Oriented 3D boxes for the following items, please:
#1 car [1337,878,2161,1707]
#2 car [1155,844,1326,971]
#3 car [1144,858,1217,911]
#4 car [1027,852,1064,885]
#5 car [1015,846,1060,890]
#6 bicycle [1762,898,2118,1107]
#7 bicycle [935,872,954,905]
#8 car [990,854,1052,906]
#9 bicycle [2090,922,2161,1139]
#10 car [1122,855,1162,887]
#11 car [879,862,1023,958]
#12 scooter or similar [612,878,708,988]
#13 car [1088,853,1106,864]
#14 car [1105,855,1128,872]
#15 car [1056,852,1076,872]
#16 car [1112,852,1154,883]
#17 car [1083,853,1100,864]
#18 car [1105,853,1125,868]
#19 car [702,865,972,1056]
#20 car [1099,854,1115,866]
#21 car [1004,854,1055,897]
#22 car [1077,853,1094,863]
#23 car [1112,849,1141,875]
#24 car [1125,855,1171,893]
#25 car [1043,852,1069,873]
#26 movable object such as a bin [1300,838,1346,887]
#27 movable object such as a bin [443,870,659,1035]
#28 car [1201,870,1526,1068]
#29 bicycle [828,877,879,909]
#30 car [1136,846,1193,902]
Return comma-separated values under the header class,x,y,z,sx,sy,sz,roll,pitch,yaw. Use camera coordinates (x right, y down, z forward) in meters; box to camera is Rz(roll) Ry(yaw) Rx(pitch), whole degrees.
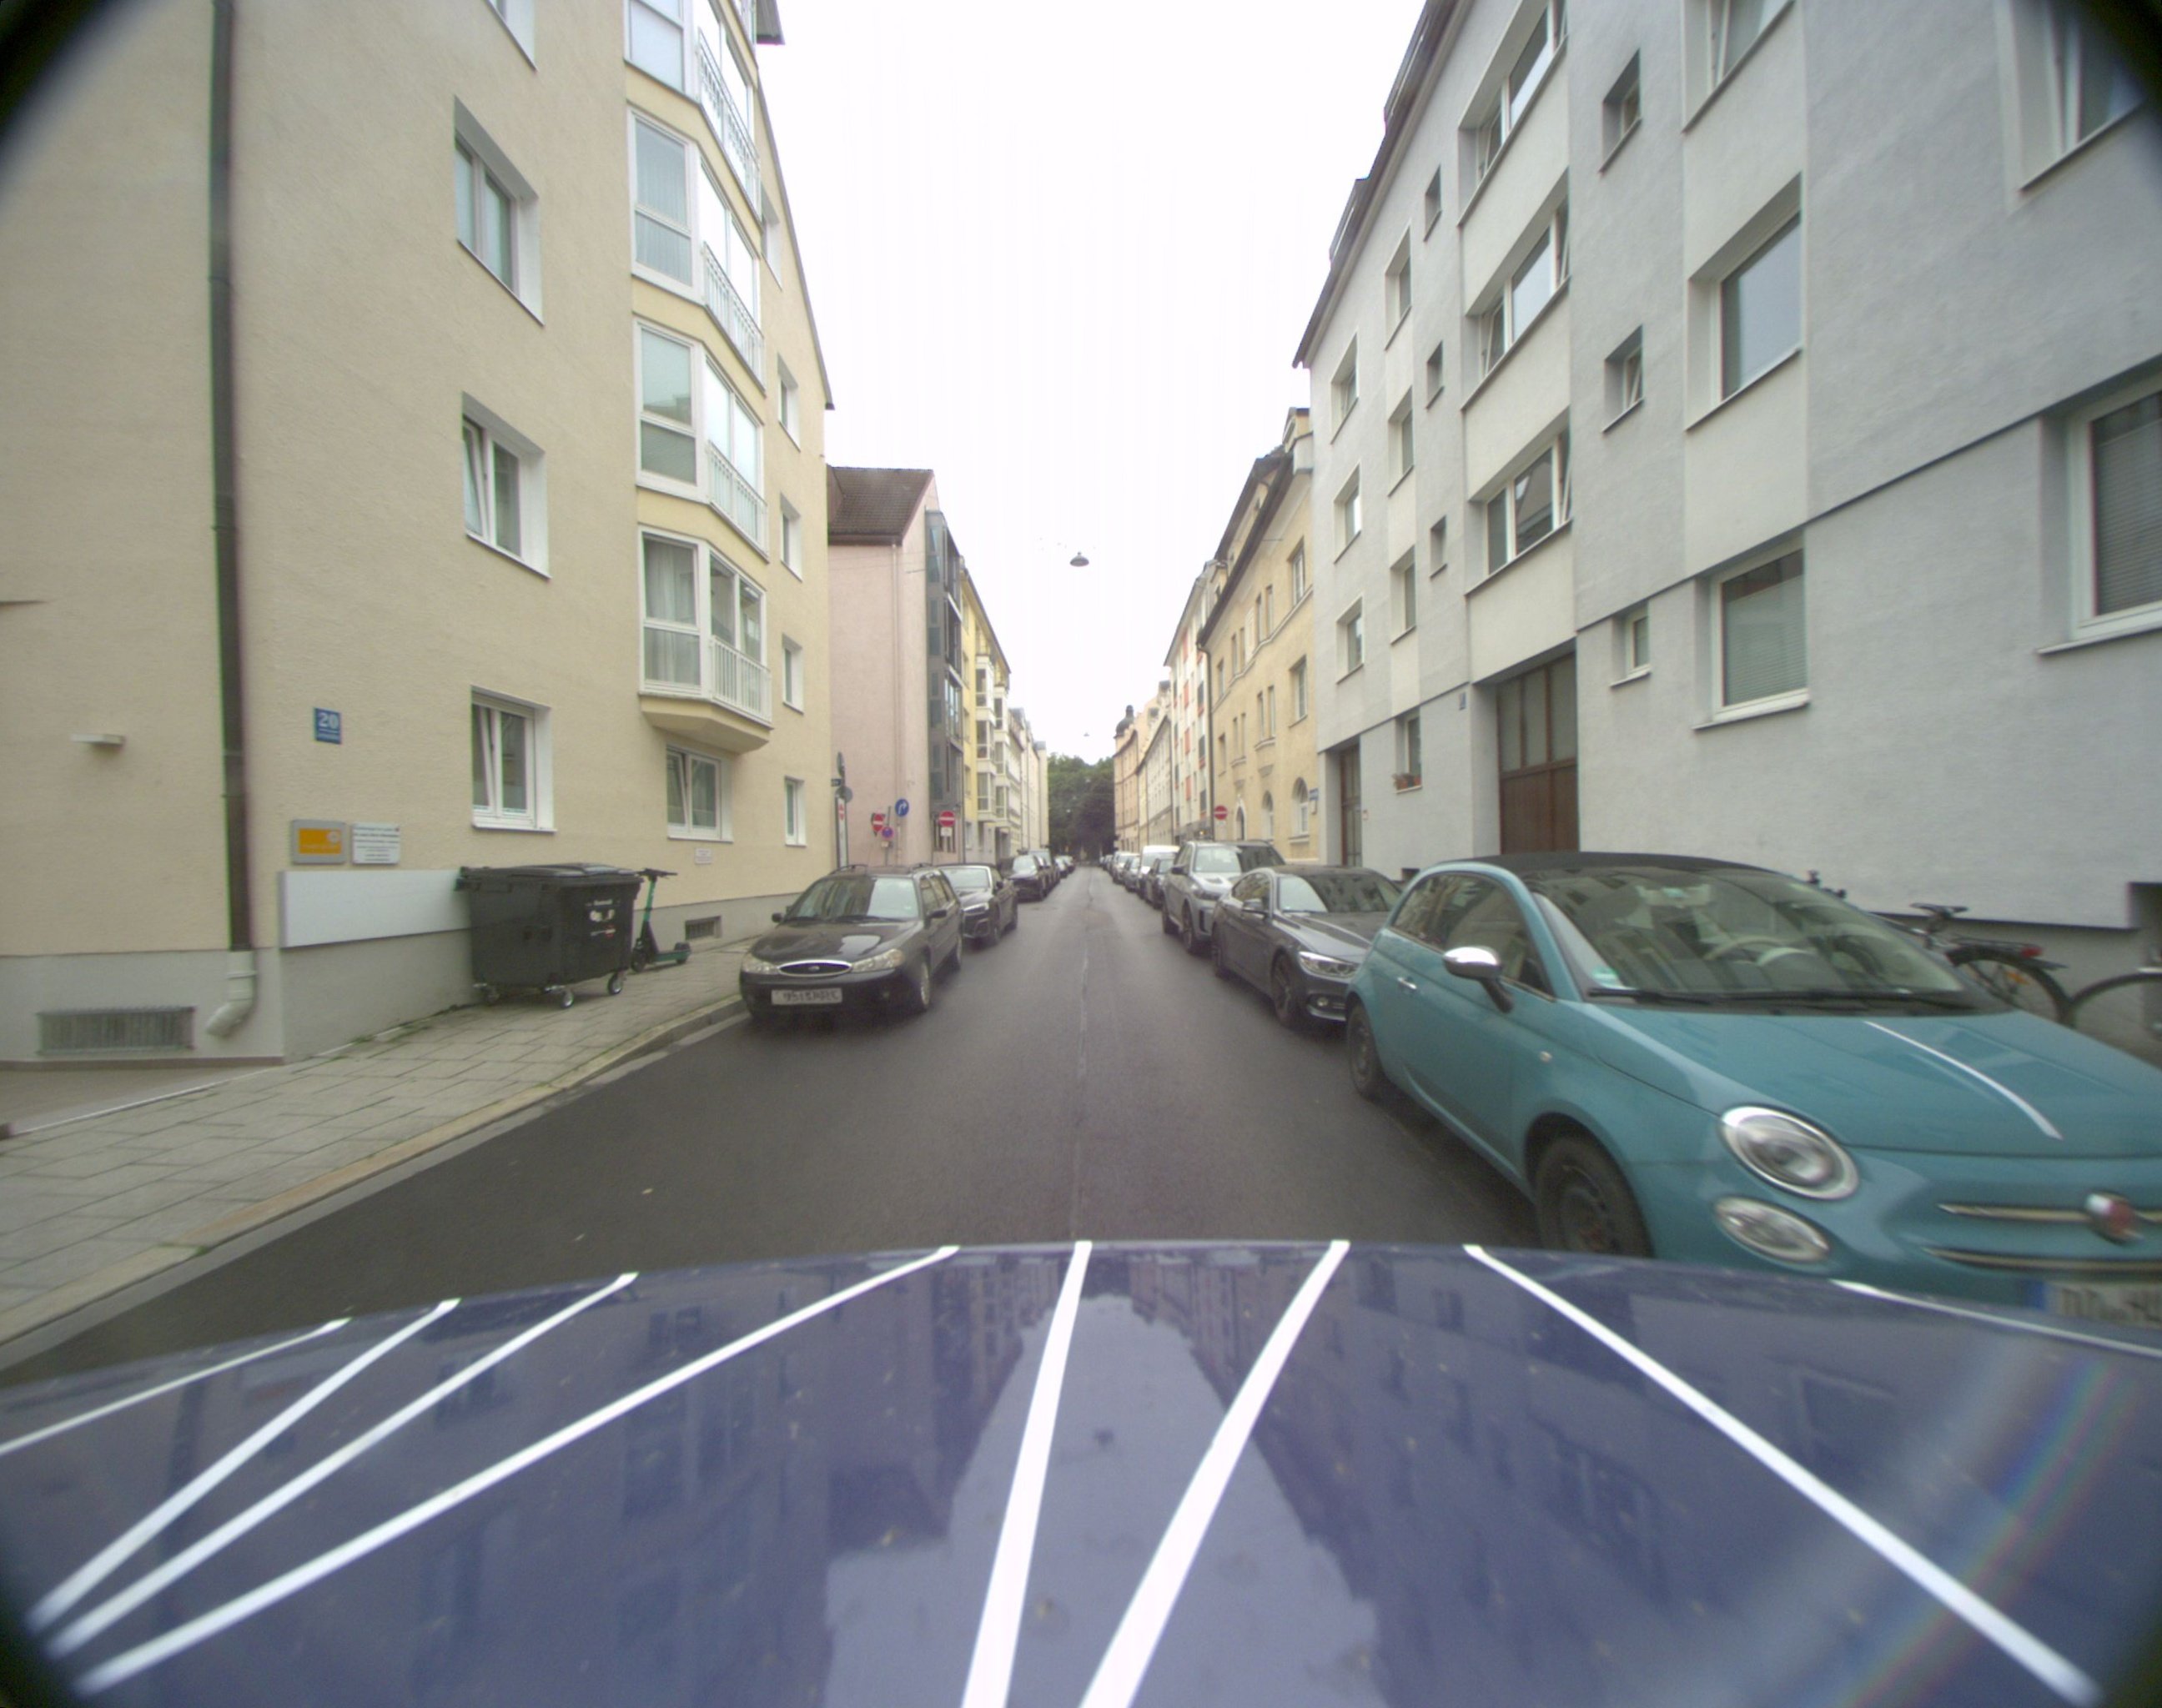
class,x,y,z,sx,sy,sz,roll,pitch,yaw
car,2.328,0.890,3.086,1.566,1.452,3.404,0,0,3
car,2.465,0.726,13.032,1.867,1.759,4.734,1,1,-1
car,2.788,0.824,22.016,1.656,1.403,3.735,1,0,0
car,-1.998,0.795,43.730,1.837,1.676,4.228,-2,0,1
car,-2.121,0.627,38.371,1.878,2.002,5.106,-2,1,0
bicycle,5.402,0.859,4.938,0.546,1.025,1.570,-2,1,1
bicycle,-4.942,1.224,27.575,0.358,1.115,1.543,-1,0,1
car,-2.095,0.869,27.611,1.837,1.612,4.410,-2,1,0
bicycle,5.435,0.875,3.163,0.396,1.025,1.570,-2,1,1
car,2.939,0.781,37.148,1.632,1.466,3.841,1,0,0
car,-2.242,0.919,14.358,1.837,1.398,4.411,-2,1,1
scooter or similar,-5.294,0.958,9.621,0.577,1.259,1.136,1,1,1
car,2.271,0.694,110.107,1.800,1.501,3.996,1,0,-10
car,3.183,0.854,69.211,1.951,1.470,3.716,1,0,1
car,-1.385,0.698,71.494,1.739,1.743,3.686,-2,0,0
car,2.800,0.729,41.905,1.786,1.595,4.307,1,0,-3
car,1.514,0.652,114.305,1.800,1.501,3.996,1,0,-10
car,3.522,0.652,79.298,1.951,1.470,3.979,1,0,1
car,-2.413,0.945,8.785,1.721,1.463,4.530,-2,1,-2
car,3.401,0.742,100.508,1.951,1.470,3.979,1,0,1
car,-2.135,0.871,32.800,1.837,1.612,4.323,-2,0,0
car,0.687,0.650,118.408,1.800,1.501,3.996,1,0,-10
car,3.363,0.579,56.721,1.951,1.850,4.908,1,0,1
car,2.776,0.800,32.198,1.676,1.467,4.112,1,0,1
car,-1.882,0.607,56.381,1.749,1.433,4.227,-2,0,-3
movable object such as a bin,5.643,0.190,17.766,0.809,1.045,0.623,-5,1,1
movable object such as a bin,-5.176,0.902,7.583,1.034,1.415,1.586,1,1,1
car,2.524,0.942,8.021,1.816,1.378,4.250,1,1,0
bicycle,-7.168,1.234,23.990,1.452,0.942,0.552,-1,0,-4
car,2.896,0.627,27.075,1.728,1.779,4.249,1,1,2
